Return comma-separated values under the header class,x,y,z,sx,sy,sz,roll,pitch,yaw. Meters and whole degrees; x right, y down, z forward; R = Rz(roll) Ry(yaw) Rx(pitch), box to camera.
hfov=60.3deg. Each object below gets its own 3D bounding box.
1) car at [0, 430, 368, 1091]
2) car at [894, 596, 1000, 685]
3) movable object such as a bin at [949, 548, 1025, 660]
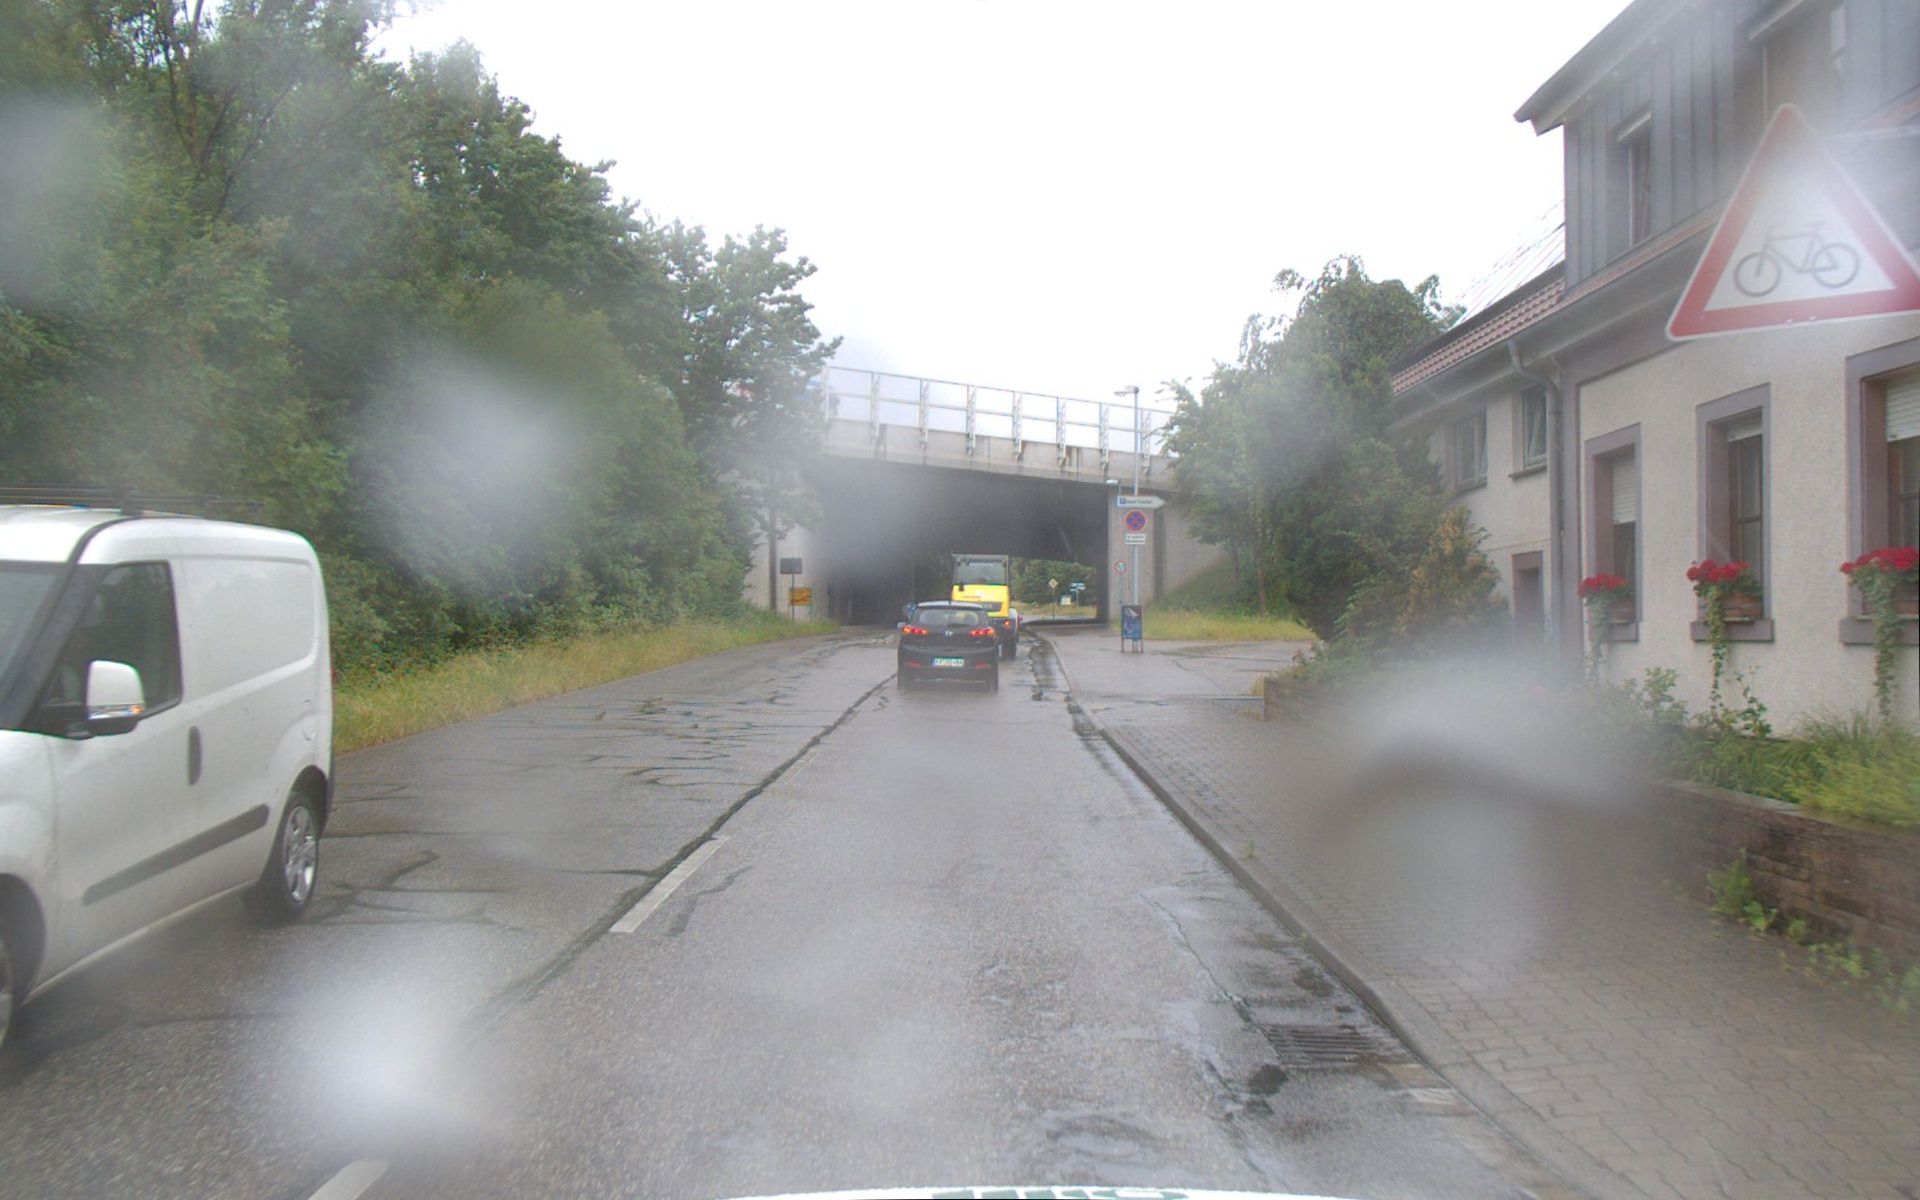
class,x,y,z,sx,sy,sz,roll,pitch,yaw
car,-3.671,0.445,5.879,1.787,1.864,4.304,1,0,-4
car,-0.190,0.668,28.684,1.673,1.401,4.000,1,0,0
movable object such as a bin,0.643,0.103,40.973,1.725,2.592,4.239,1,0,0
